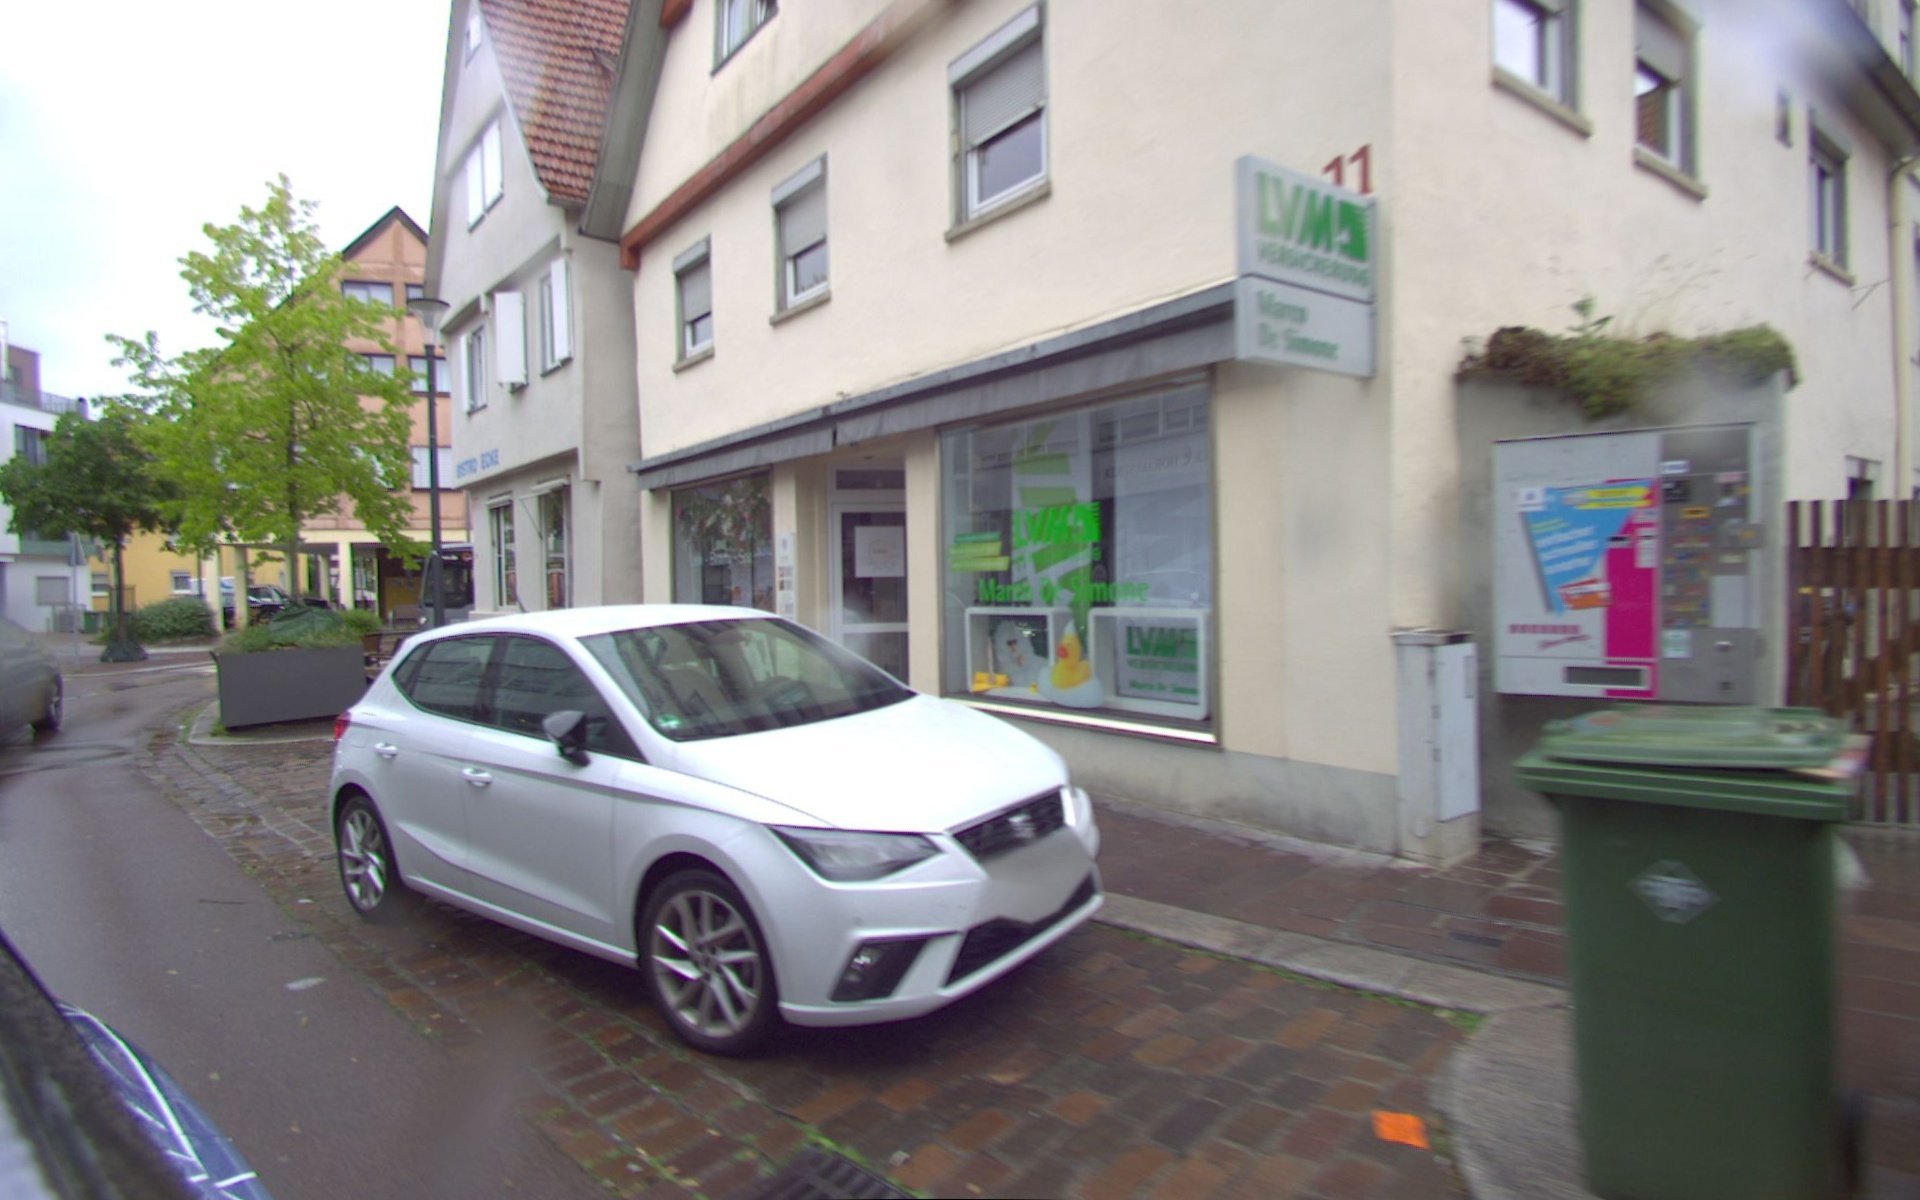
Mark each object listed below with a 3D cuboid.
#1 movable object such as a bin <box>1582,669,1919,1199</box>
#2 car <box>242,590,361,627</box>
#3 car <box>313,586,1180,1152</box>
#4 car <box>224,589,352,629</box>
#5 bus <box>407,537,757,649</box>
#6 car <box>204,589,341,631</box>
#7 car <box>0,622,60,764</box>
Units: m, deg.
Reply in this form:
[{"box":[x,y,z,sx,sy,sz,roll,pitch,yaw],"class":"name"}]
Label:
[{"box":[1.747,0.744,2.218,0.546,1.095,0.685,0,3,40],"class":"movable object such as a bin"},{"box":[-28.000,0.332,43.199,3.931,1.497,2.007,-1,0,-22],"class":"car"},{"box":[-1.166,0.712,4.433,3.812,1.433,1.673,-1,0,39],"class":"car"},{"box":[-26.759,0.341,40.456,3.931,1.497,2.007,-1,0,-22],"class":"car"},{"box":[-12.265,-0.291,33.534,10.508,3.325,2.689,-1,0,-26],"class":"bus"},{"box":[-25.784,0.349,38.113,3.931,1.497,2.007,-1,0,-22],"class":"car"},{"box":[-10.985,0.988,10.355,1.967,1.417,4.906,-2,0,-34],"class":"car"}]
